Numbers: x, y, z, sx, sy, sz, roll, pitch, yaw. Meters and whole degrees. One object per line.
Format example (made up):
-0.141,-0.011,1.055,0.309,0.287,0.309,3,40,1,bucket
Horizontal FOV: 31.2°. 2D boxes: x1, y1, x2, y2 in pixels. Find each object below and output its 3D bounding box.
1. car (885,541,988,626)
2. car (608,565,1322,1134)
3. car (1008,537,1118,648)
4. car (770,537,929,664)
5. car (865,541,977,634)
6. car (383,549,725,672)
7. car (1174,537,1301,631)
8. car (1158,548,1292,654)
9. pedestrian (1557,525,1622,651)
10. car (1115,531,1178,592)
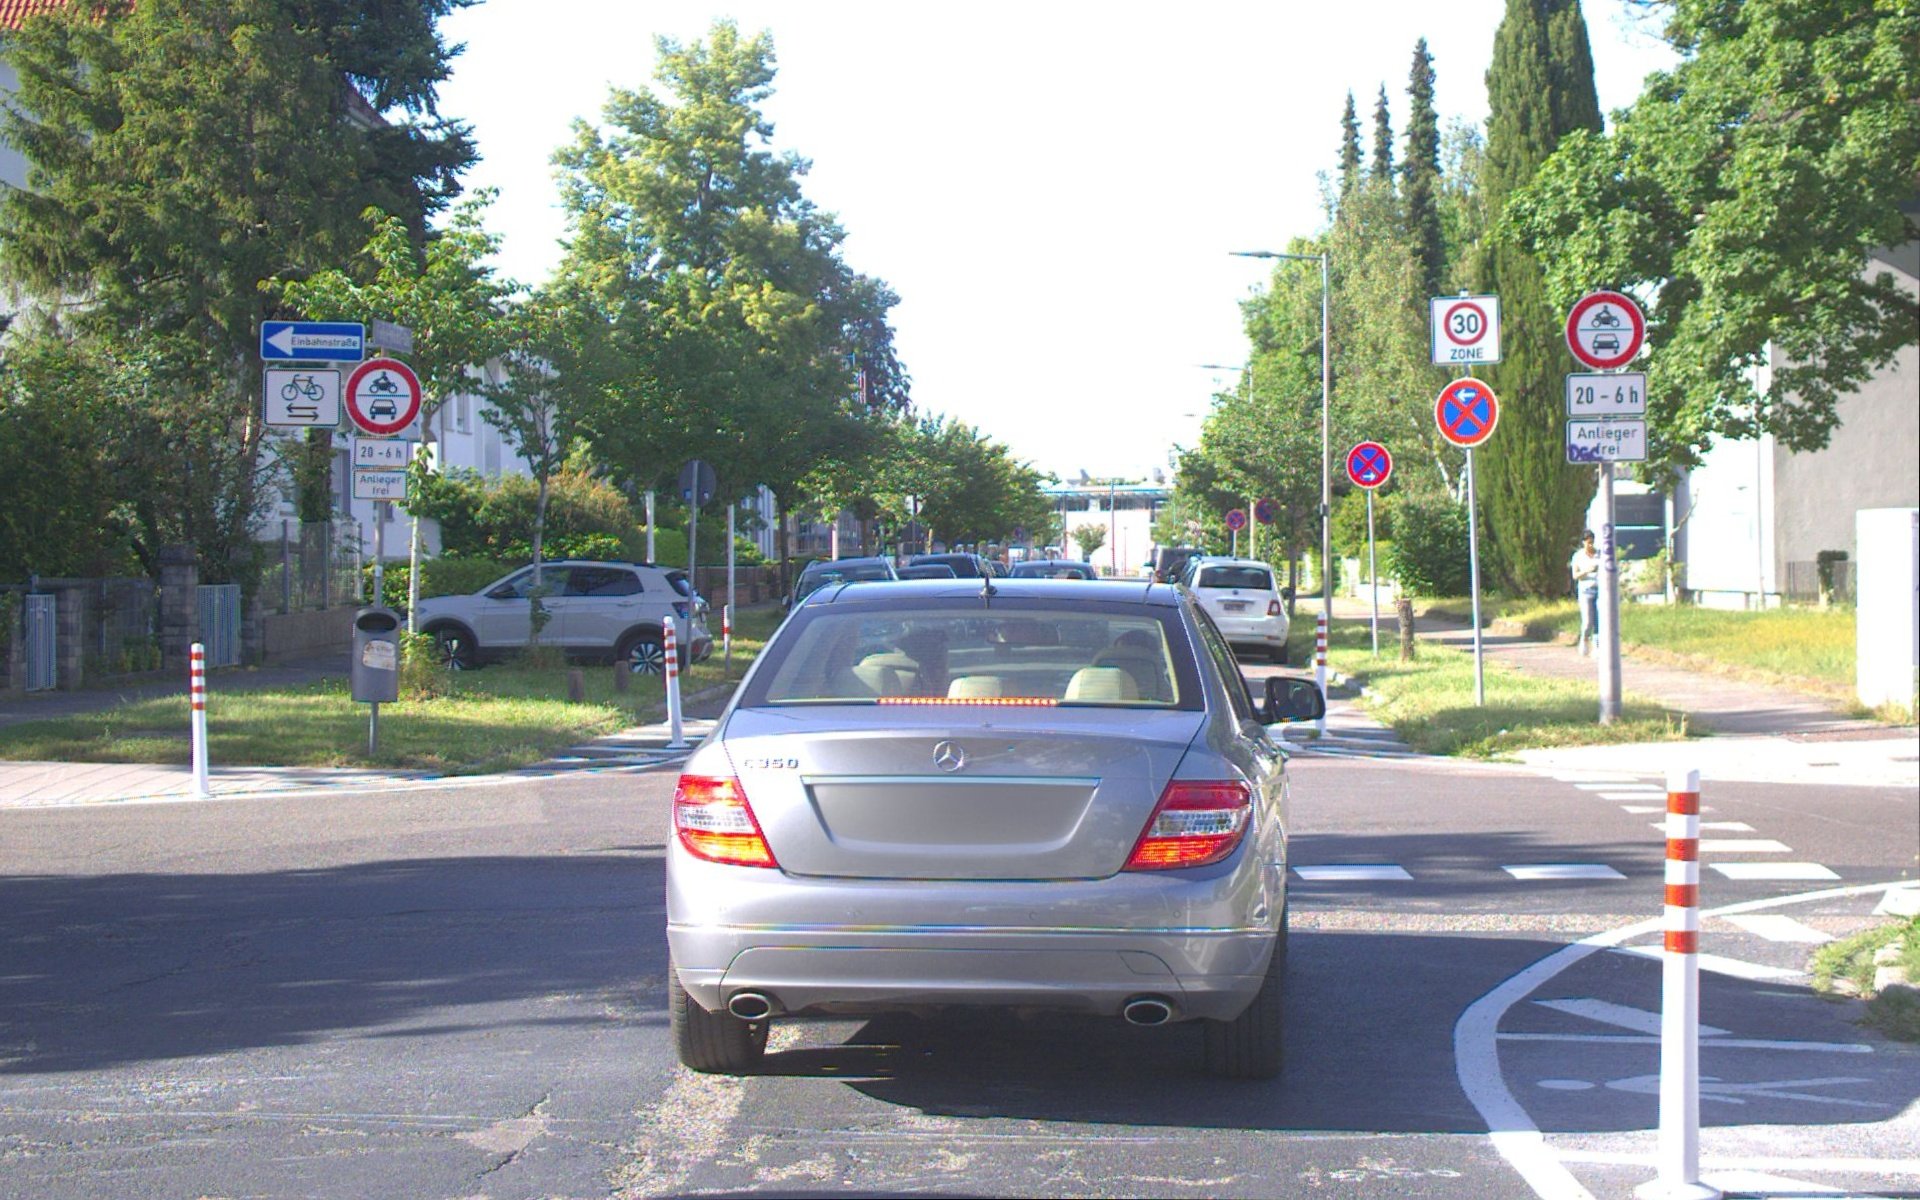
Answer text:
-0.460,-0.370,72.837,1.993,1.604,4.000,-4,1,1,car
0.139,0.616,10.815,1.836,1.436,4.000,0,1,4,car
1.552,-0.142,52.623,1.597,1.604,3.644,-1,1,1,car
-1.531,-0.026,49.258,1.993,1.604,4.000,-4,1,1,car
-0.729,-0.269,67.049,1.993,1.604,4.000,-4,1,1,car
-5.188,0.118,44.298,4.192,1.558,1.842,0,1,0,car
4.969,-0.317,62.063,1.993,1.604,4.000,-1,1,1,car
3.908,-0.012,51.244,1.733,1.475,3.725,-1,1,1,car
8.172,-0.157,44.672,0.766,1.605,0.834,-1,1,8,pedestrian
5.780,-1.205,107.060,1.855,1.835,4.000,-1,1,2,car
